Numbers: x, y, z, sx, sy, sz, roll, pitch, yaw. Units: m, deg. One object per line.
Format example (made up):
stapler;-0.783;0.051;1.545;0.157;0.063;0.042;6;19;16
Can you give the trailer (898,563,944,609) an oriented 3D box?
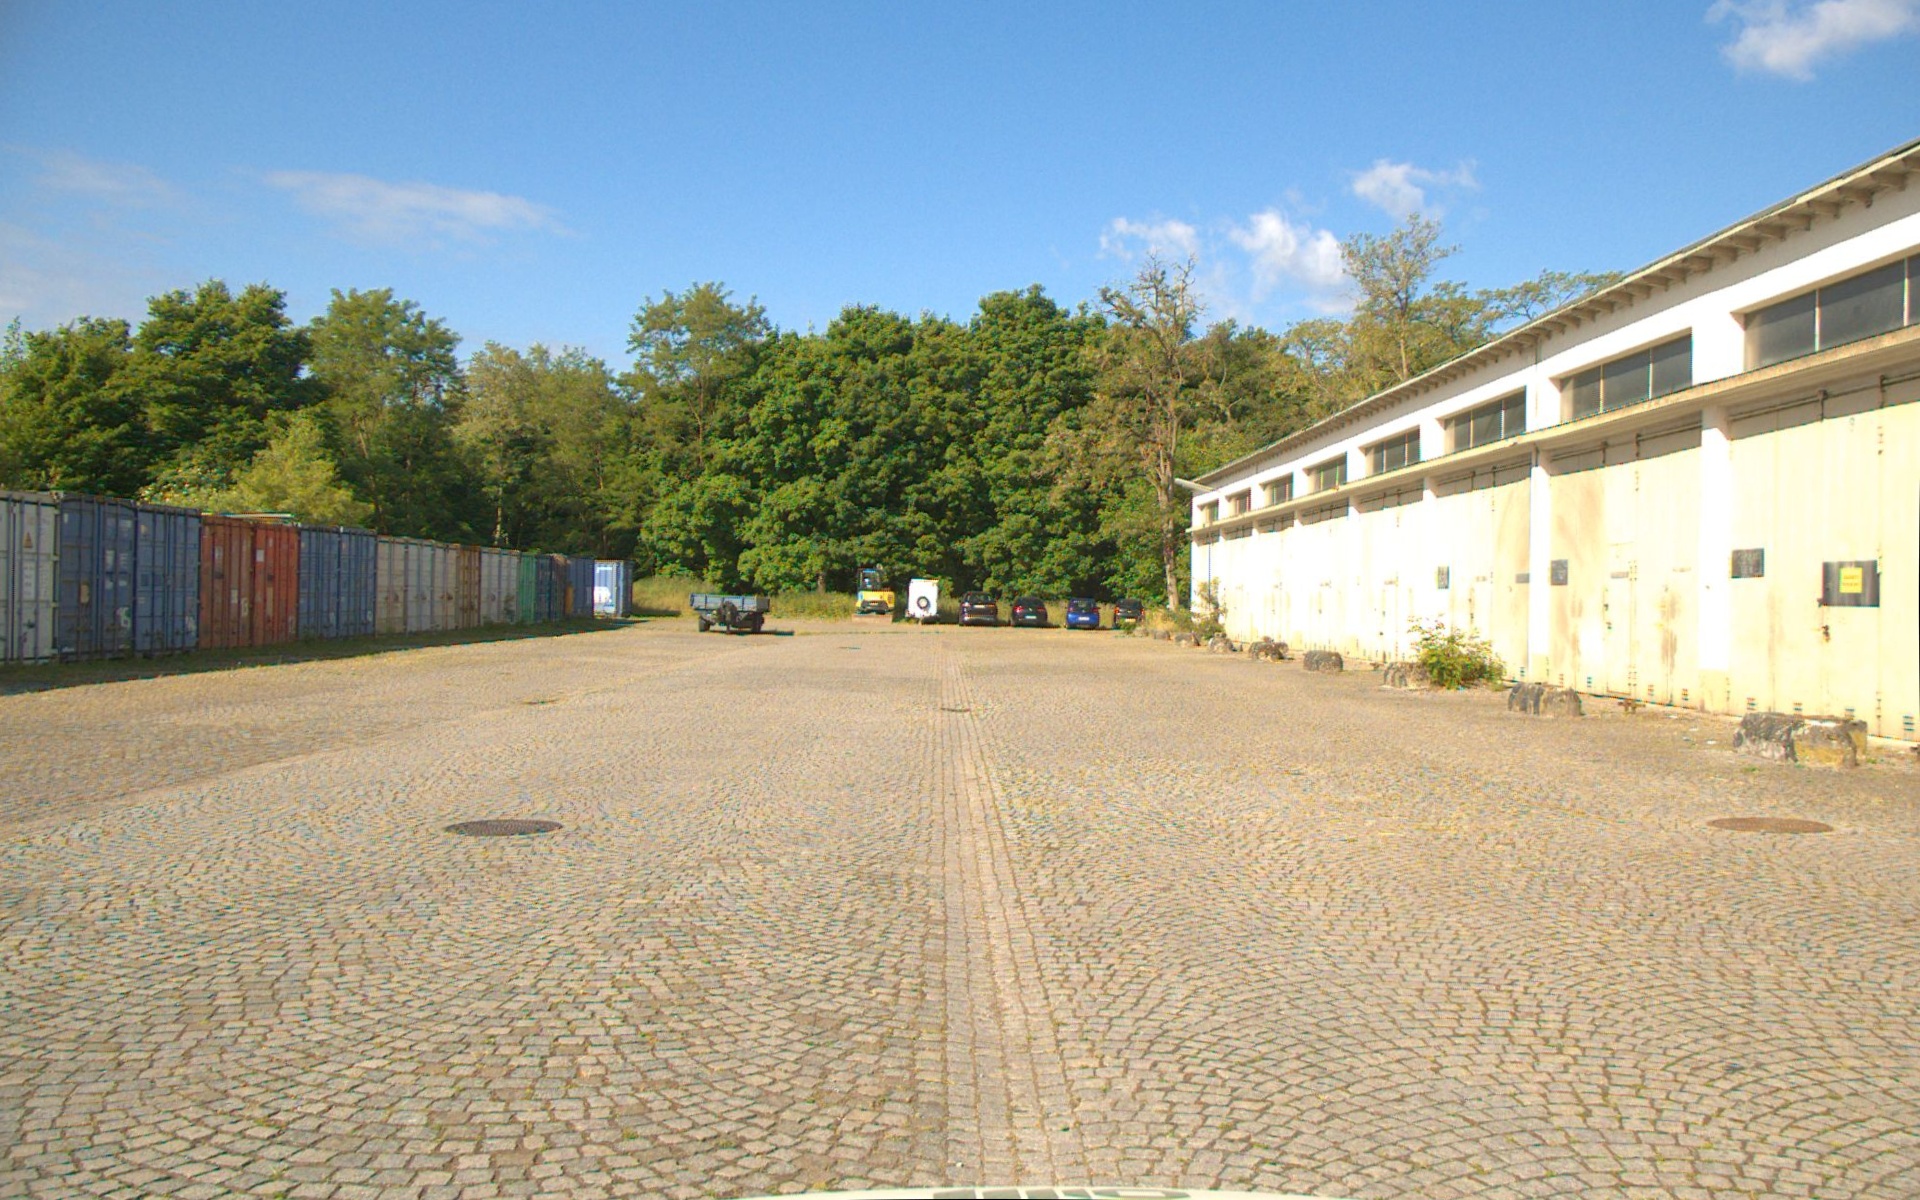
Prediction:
trailer;-1.912;-0.719;82.204;2.148;2.131;5.750;2;1;-1

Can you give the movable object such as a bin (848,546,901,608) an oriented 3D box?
movable object such as a bin;-4.246;-1.173;82.754;2.259;2.947;5.751;2;1;0

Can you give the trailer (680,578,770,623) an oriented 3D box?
trailer;-8.717;-0.028;61.996;2.651;1.491;6.245;2;1;-2

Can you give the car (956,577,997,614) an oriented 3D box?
car;0.764;-0.239;79.876;1.826;1.617;4.295;2;1;-1

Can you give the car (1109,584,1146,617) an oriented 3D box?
car;8.292;-0.011;81.728;1.707;1.461;4.186;2;1;6

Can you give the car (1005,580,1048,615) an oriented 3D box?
car;3.198;-0.146;80.288;1.826;1.495;4.295;2;1;-1

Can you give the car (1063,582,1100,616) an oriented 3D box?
car;5.910;-0.064;80.276;1.707;1.461;4.186;2;1;4
